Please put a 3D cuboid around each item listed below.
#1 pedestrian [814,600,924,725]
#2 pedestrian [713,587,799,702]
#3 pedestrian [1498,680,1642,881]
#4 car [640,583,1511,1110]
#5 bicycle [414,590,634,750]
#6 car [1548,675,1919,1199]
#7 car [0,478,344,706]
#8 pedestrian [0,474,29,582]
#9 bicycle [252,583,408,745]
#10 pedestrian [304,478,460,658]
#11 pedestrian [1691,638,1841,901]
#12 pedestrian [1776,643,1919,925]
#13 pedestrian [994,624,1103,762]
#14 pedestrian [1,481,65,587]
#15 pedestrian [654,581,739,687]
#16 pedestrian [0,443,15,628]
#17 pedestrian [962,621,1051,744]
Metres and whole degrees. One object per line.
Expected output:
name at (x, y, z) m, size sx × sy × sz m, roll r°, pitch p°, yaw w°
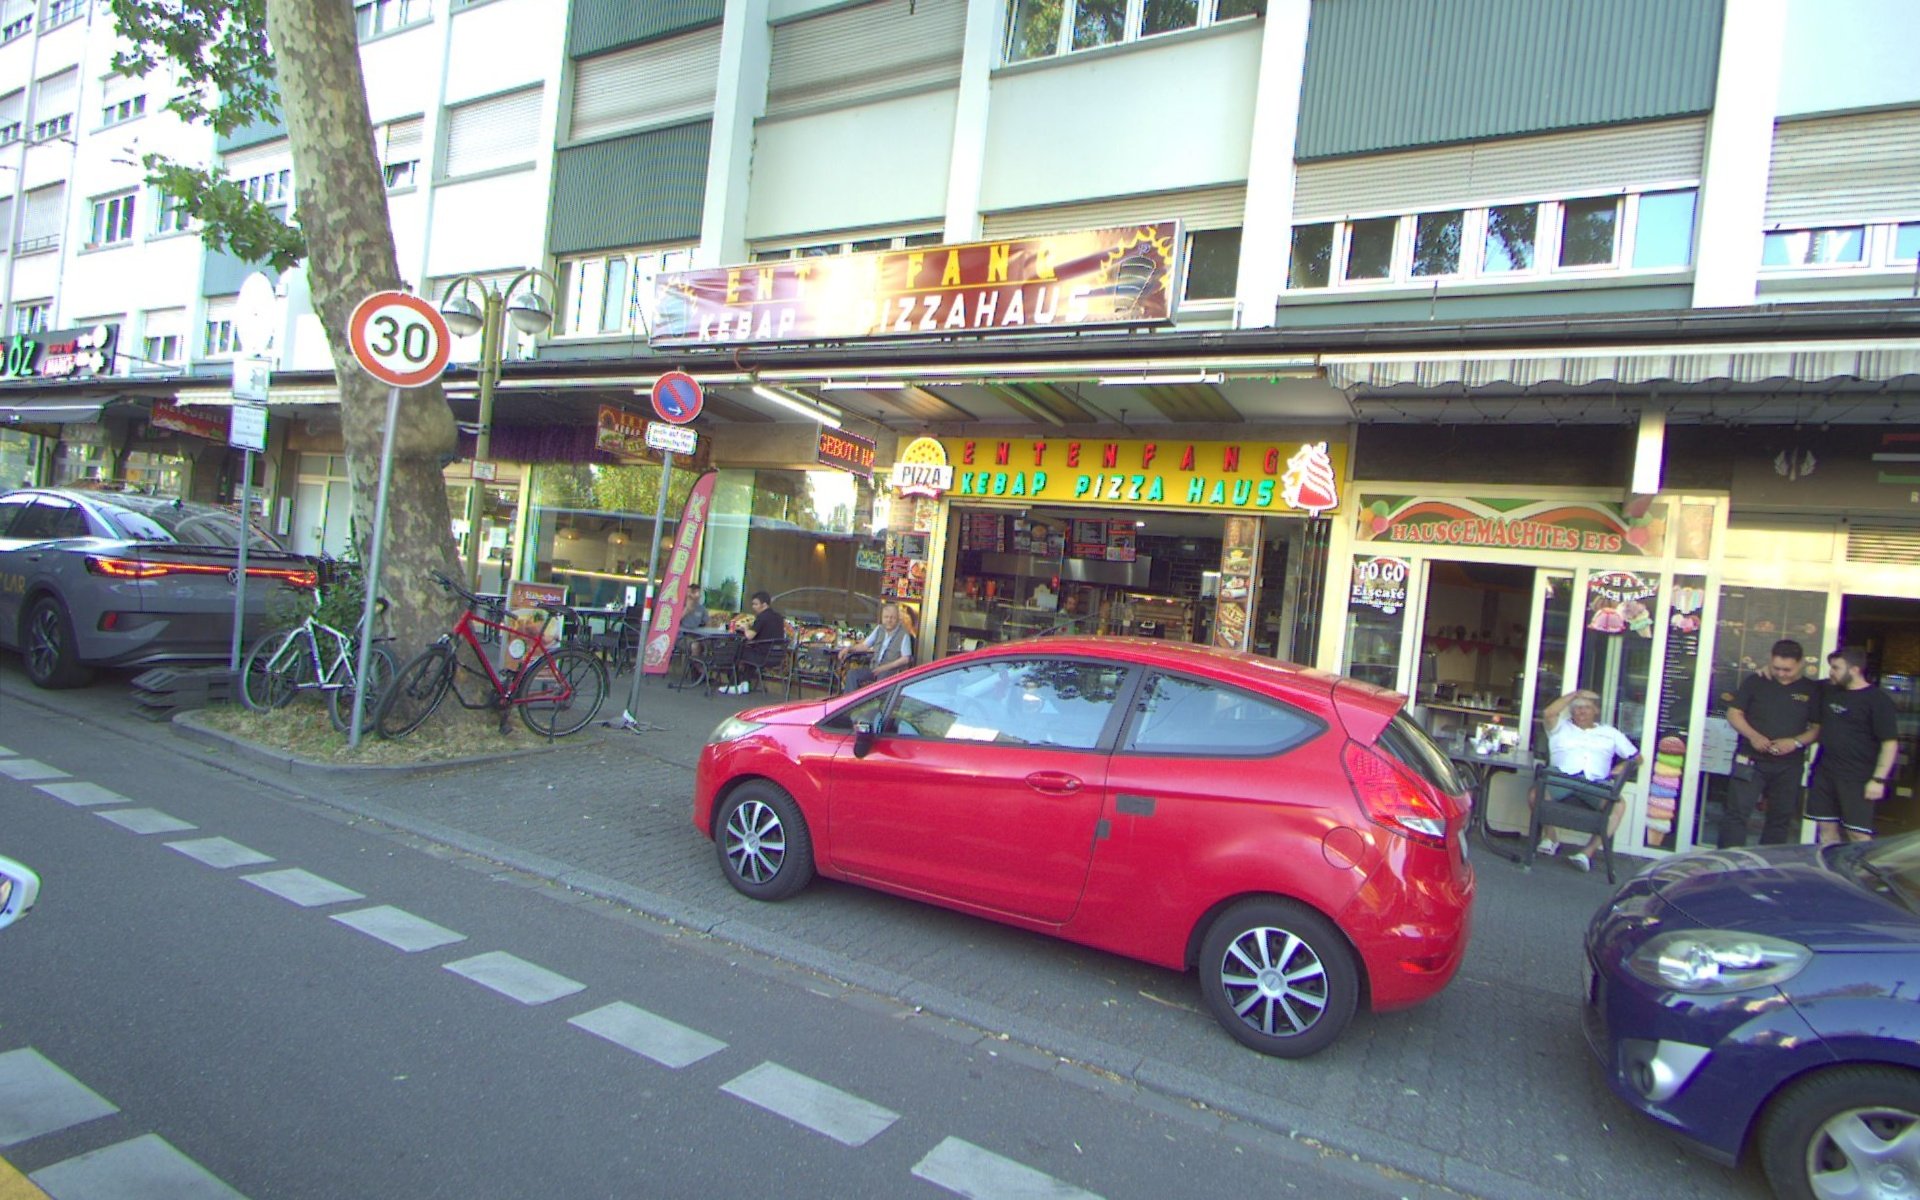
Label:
pedestrian at (-0.982, 0.665, 10.874) m, size 0.861 × 1.237 × 0.688 m, roll 2°, pitch 3°, yaw -44°
pedestrian at (-2.393, 0.512, 11.806) m, size 0.701 × 1.260 × 0.614 m, roll 7°, pitch 3°, yaw 41°
pedestrian at (4.633, 1.298, 7.630) m, size 0.767 × 1.249 × 1.202 m, roll 6°, pitch 3°, yaw 33°
car at (0.474, 0.848, 5.002) m, size 3.780 × 1.448 × 1.668 m, roll 7°, pitch 2°, yaw 27°
bicycle at (-3.236, 0.507, 7.566) m, size 0.291 × 1.082 × 1.455 m, roll 12°, pitch 7°, yaw 42°
car at (3.868, 1.225, 2.912) m, size 3.543 × 1.485 × 1.620 m, roll 7°, pitch 2°, yaw 29°
car at (-7.844, -0.201, 9.221) m, size 4.223 × 1.619 × 1.742 m, roll 7°, pitch 2°, yaw 27°
pedestrian at (-18.835, -1.432, 19.596) m, size 0.684 × 2.038 × 0.692 m, roll 7°, pitch 1°, yaw 28°
bicycle at (-4.448, 0.428, 7.087) m, size 1.110 × 0.941 × 0.295 m, roll 9°, pitch 6°, yaw 21°
pedestrian at (-6.700, -0.358, 11.677) m, size 1.104 × 1.913 × 1.023 m, roll 6°, pitch 0°, yaw 31°
pedestrian at (5.835, 1.188, 7.325) m, size 0.587 × 1.759 × 0.587 m, roll 8°, pitch 3°, yaw 32°
pedestrian at (6.235, 1.221, 6.976) m, size 0.636 × 1.783 × 0.610 m, roll 8°, pitch 3°, yaw 33°
pedestrian at (0.829, 0.841, 9.419) m, size 0.740 × 1.172 × 0.593 m, roll 6°, pitch 3°, yaw 33°
pedestrian at (-18.709, -1.326, 20.298) m, size 0.684 × 2.038 × 0.613 m, roll 7°, pitch 1°, yaw 27°
pedestrian at (-3.239, 0.410, 12.369) m, size 0.694 × 1.220 × 0.675 m, roll 7°, pitch 3°, yaw 42°
pedestrian at (-10.889, -0.733, 10.772) m, size 0.759 × 2.040 × 0.712 m, roll 5°, pitch 2°, yaw -12°
pedestrian at (0.489, 0.828, 10.389) m, size 0.585 × 1.172 × 0.671 m, roll 6°, pitch 3°, yaw 31°
